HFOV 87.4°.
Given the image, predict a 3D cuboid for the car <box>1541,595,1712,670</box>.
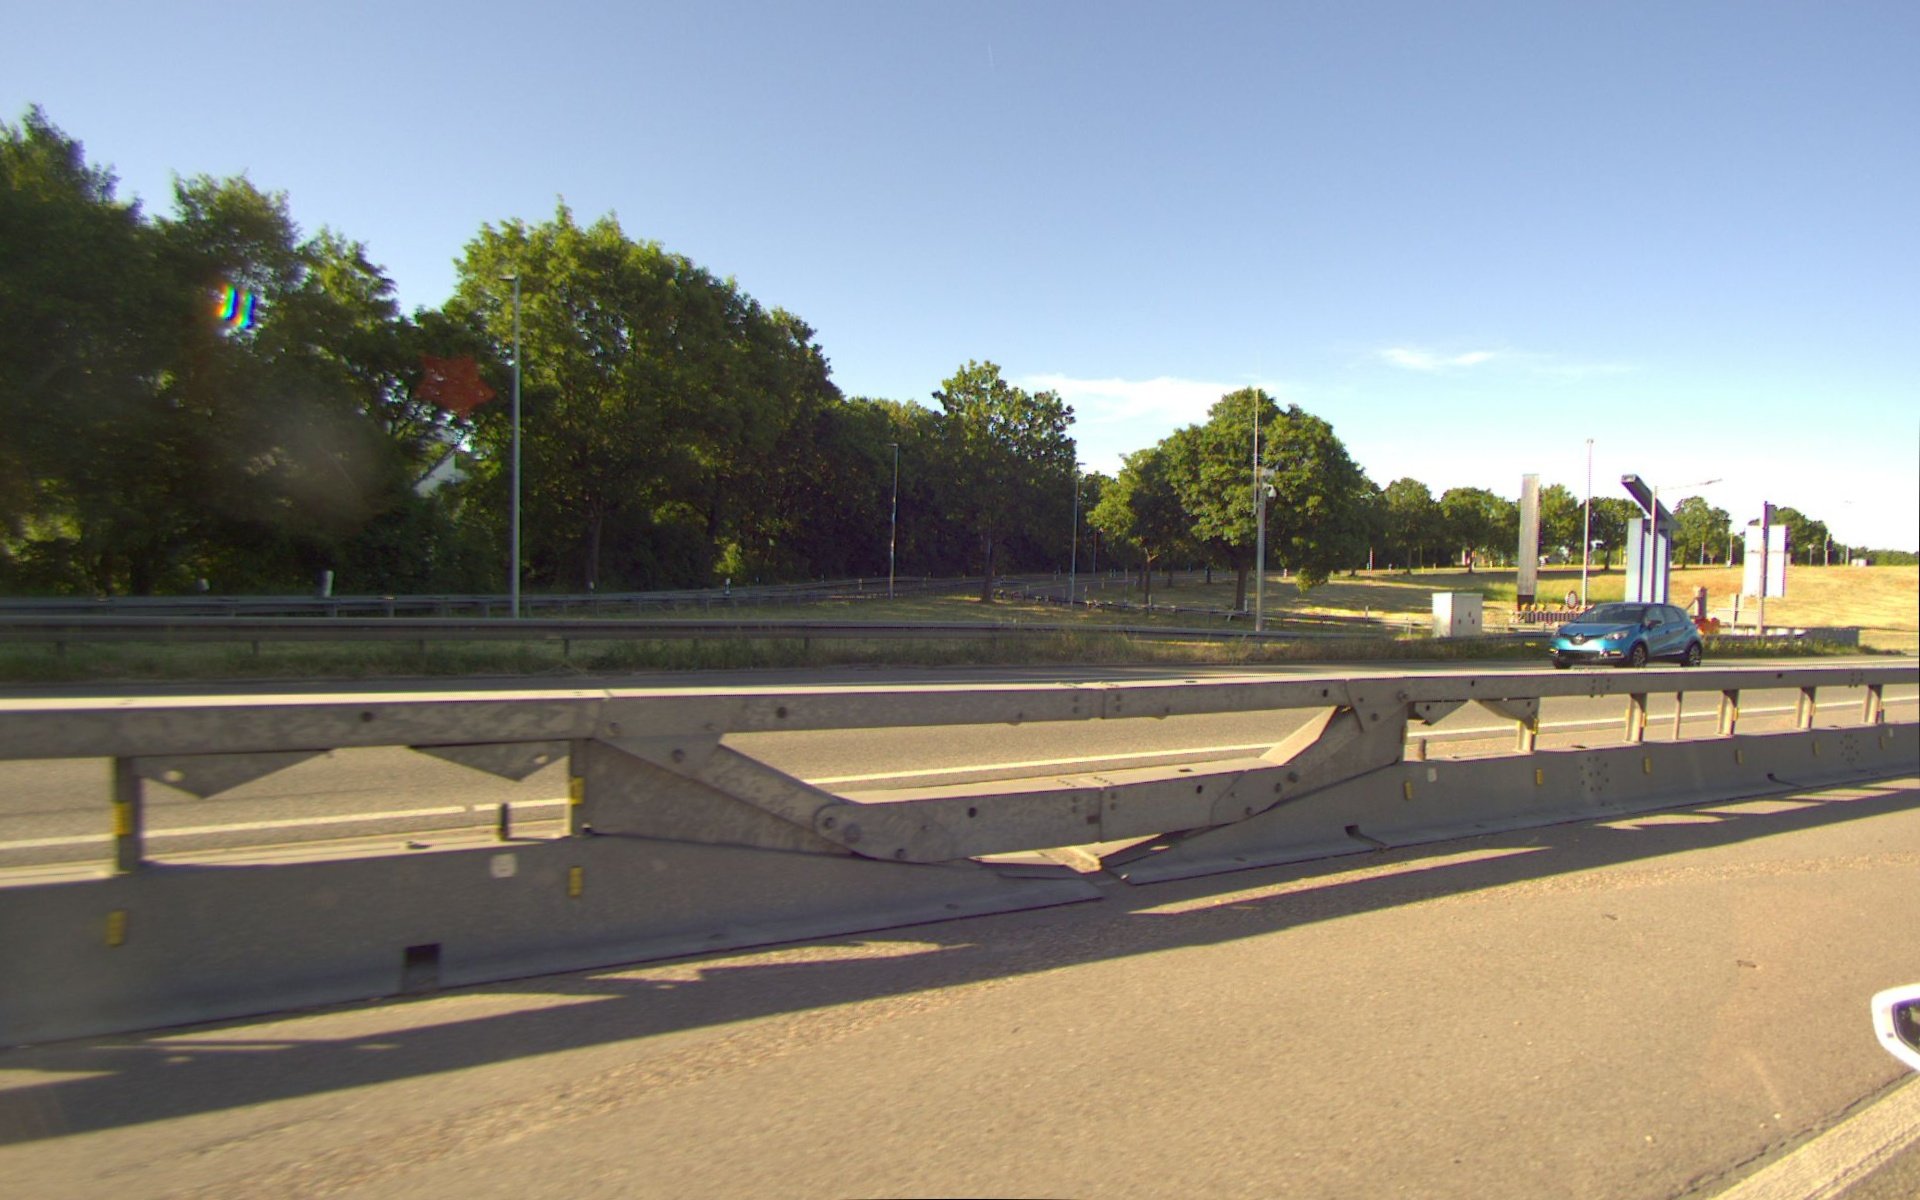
[{"bbox_3d":[15.391,0.718,23.139,4.273,1.593,1.663,1,0,-32],"label":"car"}]
